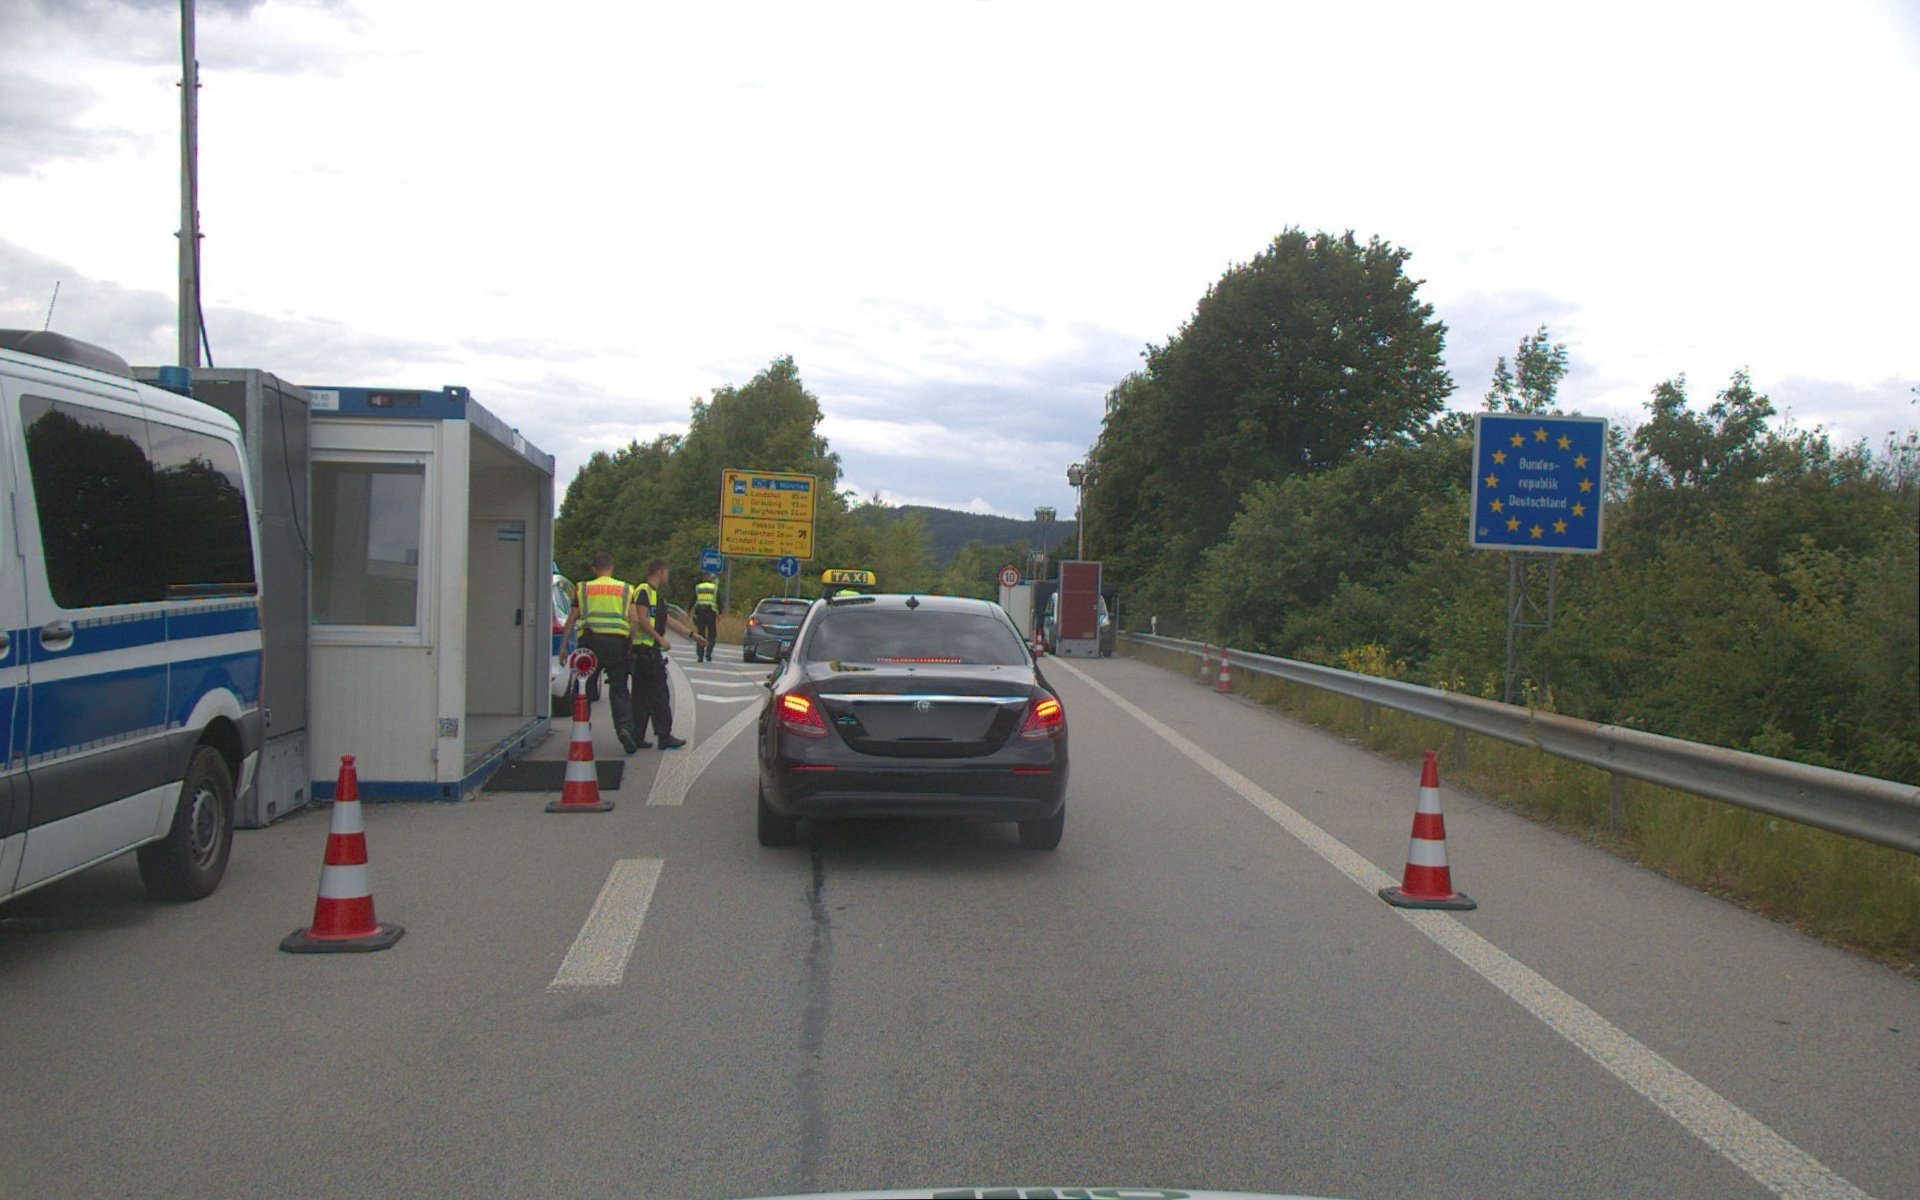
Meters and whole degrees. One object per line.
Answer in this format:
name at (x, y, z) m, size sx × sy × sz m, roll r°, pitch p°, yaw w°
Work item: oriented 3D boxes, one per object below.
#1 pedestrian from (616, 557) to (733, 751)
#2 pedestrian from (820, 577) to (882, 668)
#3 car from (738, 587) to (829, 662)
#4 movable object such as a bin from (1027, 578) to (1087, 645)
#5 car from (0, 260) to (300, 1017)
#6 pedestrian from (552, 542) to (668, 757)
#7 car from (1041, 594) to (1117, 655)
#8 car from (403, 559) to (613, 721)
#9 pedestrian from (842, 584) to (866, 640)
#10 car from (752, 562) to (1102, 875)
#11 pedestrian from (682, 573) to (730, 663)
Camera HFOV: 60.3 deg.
pedestrian at (-2.651, 0.484, 15.396) m, size 0.798 × 1.748 × 0.763 m, roll 1°, pitch 0°, yaw 18°
pedestrian at (-2.116, 0.434, 32.034) m, size 0.898 × 1.727 × 0.906 m, roll 1°, pitch 0°, yaw -27°
car at (-3.795, 0.495, 36.108) m, size 1.819 × 1.524 × 4.252 m, roll 1°, pitch 0°, yaw -5°
movable object such as a bin at (3.497, 0.398, 60.228) m, size 1.952 × 2.320 × 4.168 m, roll 1°, pitch 0°, yaw 0°
car at (-4.212, 0.116, 5.890) m, size 1.989 × 2.506 × 5.273 m, roll 1°, pitch 0°, yaw -5°
pedestrian at (-3.141, 0.428, 14.826) m, size 0.803 × 1.862 × 0.801 m, roll 1°, pitch 0°, yaw -30°
car at (3.635, 0.727, 51.387) m, size 1.877 × 1.707 × 5.082 m, roll 3°, pitch 0°, yaw 0°
car at (-5.465, 0.442, 20.495) m, size 1.833 × 1.774 × 4.003 m, roll 1°, pitch 0°, yaw -6°
pedestrian at (-3.822, 0.415, 59.471) m, size 0.650 × 1.995 × 0.760 m, roll 1°, pitch 0°, yaw 14°
car at (-0.345, 0.619, 10.863) m, size 1.819 × 1.623 × 4.371 m, roll 1°, pitch 0°, yaw -5°
pedestrian at (-5.198, 0.354, 33.772) m, size 0.892 × 1.800 × 0.911 m, roll 1°, pitch 0°, yaw -12°
